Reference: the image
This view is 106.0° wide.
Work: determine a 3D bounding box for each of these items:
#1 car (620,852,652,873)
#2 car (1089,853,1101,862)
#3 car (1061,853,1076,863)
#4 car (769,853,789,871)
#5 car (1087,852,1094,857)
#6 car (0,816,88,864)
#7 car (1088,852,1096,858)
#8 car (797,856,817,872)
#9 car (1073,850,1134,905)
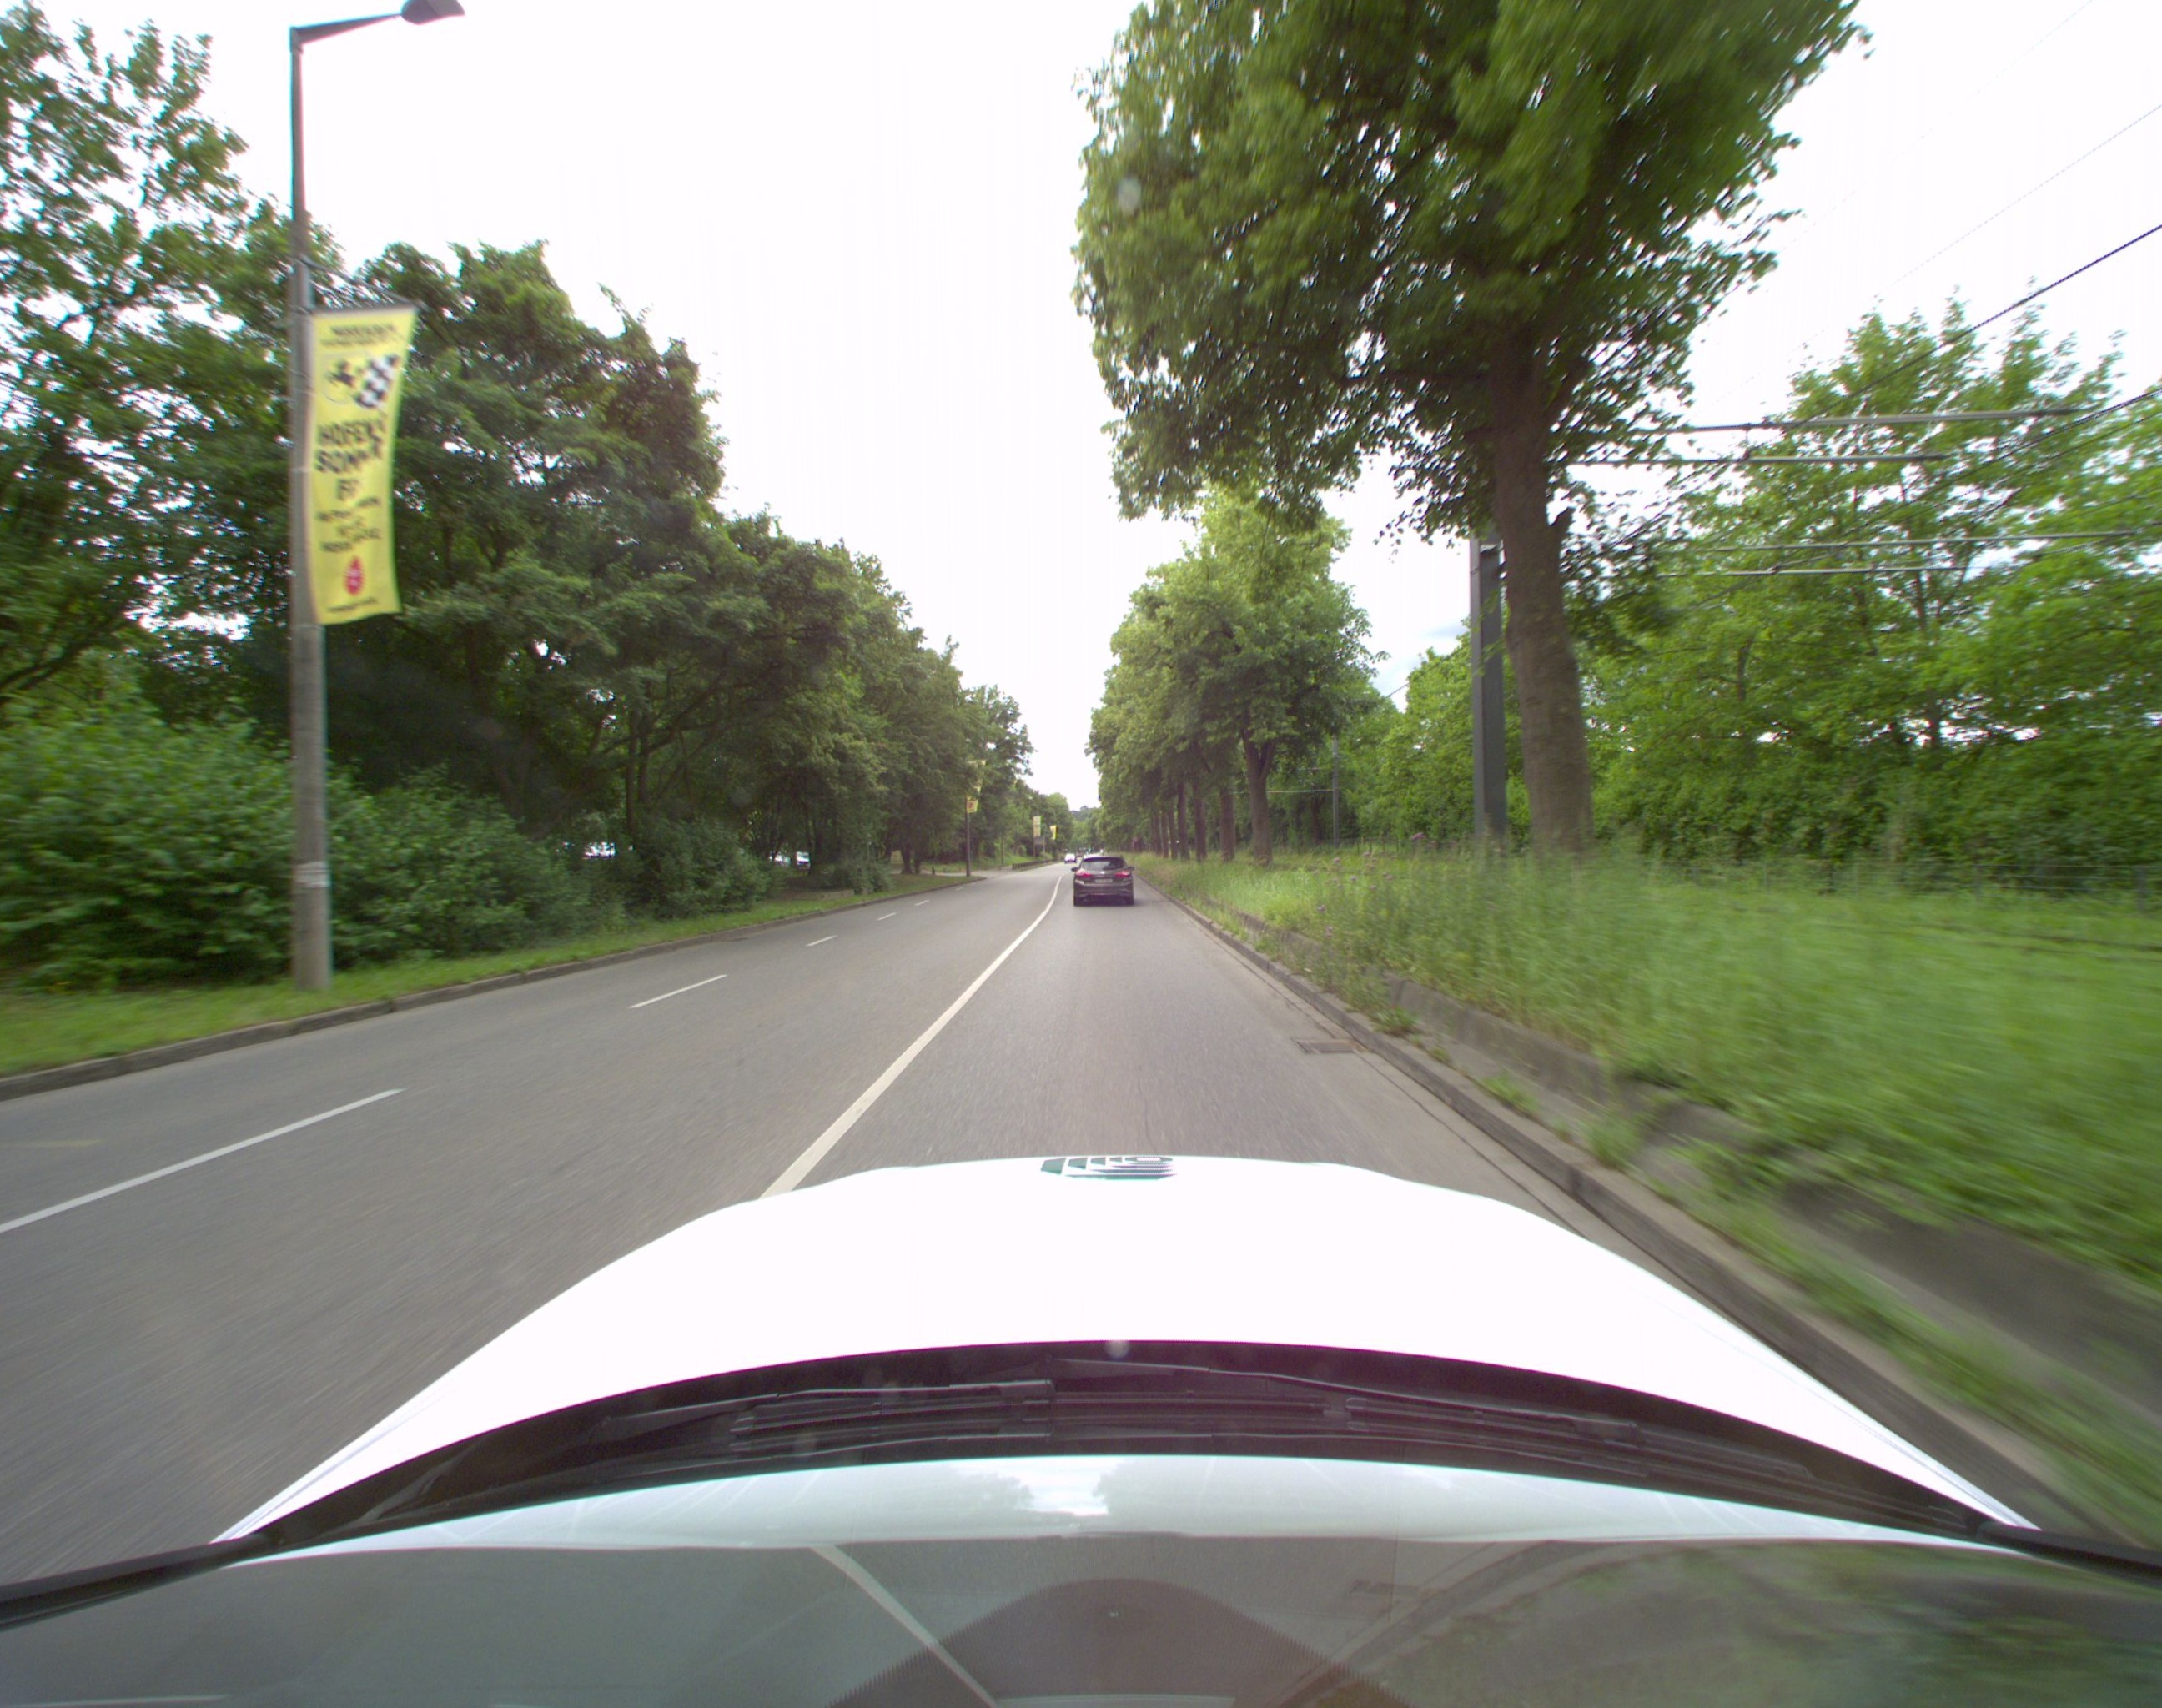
[{"bbox_3d":[-33.283,0.619,60.985,1.653,1.486,3.970,0,0,-22],"label":"car"},{"bbox_3d":[2.200,0.547,129.879,1.553,1.441,3.558,0,0,6],"label":"car"},{"bbox_3d":[-1.835,0.574,121.861,1.708,1.428,4.203,-3,0,5],"label":"car"},{"bbox_3d":[-24.126,0.645,65.115,1.375,1.402,3.050,1,-1,-20],"label":"car"},{"bbox_3d":[2.767,0.269,240.193,1.562,1.441,3.538,0,0,-11],"label":"car"},{"bbox_3d":[-34.489,-0.428,26.095,1.653,1.486,3.970,0,0,-22],"label":"car"},{"bbox_3d":[2.876,0.287,209.858,1.561,1.441,3.541,0,0,-8],"label":"car"},{"bbox_3d":[-22.309,0.821,66.252,1.375,1.238,3.050,1,-1,-20],"label":"car"},{"bbox_3d":[0.660,0.658,24.776,1.724,1.537,3.552,0,0,1],"label":"car"}]
